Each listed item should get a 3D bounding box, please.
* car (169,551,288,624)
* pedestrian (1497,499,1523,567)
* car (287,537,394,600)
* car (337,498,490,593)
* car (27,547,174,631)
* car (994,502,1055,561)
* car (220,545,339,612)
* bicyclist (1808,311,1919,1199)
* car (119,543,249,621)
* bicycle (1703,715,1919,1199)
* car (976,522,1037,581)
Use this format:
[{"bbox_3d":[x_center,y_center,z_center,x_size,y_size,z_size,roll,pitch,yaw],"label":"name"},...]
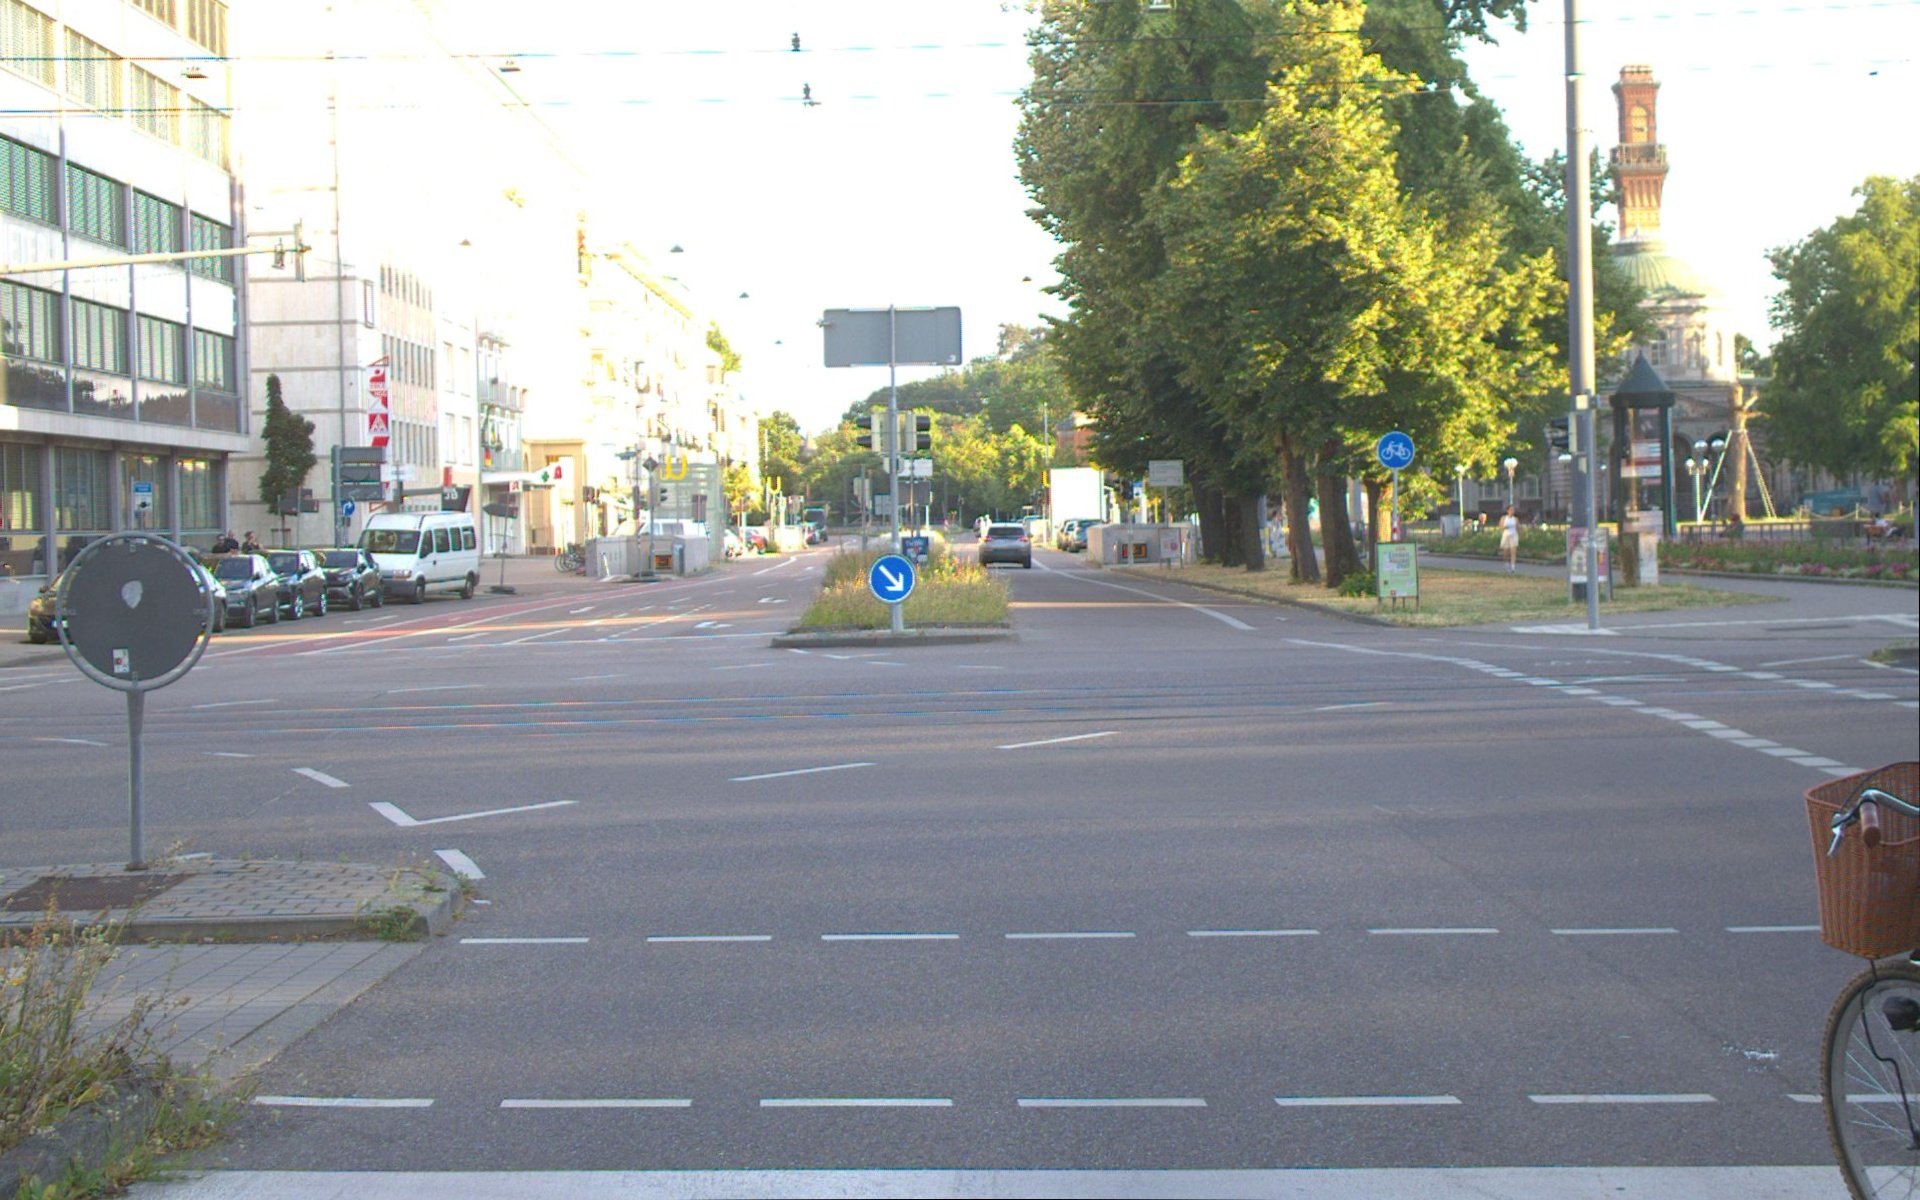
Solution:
[{"bbox_3d":[-16.151,-0.252,76.075,1.796,1.470,4.000,-1,-1,-1],"label":"car"},{"bbox_3d":[13.410,-1.633,83.777,0.508,1.663,0.531,-1,1,-1],"label":"pedestrian"},{"bbox_3d":[-15.853,-0.784,88.201,1.796,1.470,3.999,-1,-1,3],"label":"car"},{"bbox_3d":[-14.996,-1.453,94.782,2.178,2.377,5.986,-2,-1,11],"label":"car"},{"bbox_3d":[-16.235,-0.178,65.116,1.796,1.470,4.000,-1,-1,-1],"label":"car"},{"bbox_3d":[2.271,-2.433,122.108,1.993,2.007,4.000,-1,1,-1],"label":"car"},{"bbox_3d":[-16.151,-0.497,81.804,1.796,1.470,3.999,-1,-1,3],"label":"car"},{"bbox_3d":[1.826,0.379,5.668,0.628,1.687,0.748,-1,1,-1],"label":"bicyclist"},{"bbox_3d":[-16.024,-0.351,71.155,1.796,1.470,4.000,-1,-1,-1],"label":"car"},{"bbox_3d":[1.842,0.793,5.992,0.637,1.065,2.069,0,1,0],"label":"bicycle"},{"bbox_3d":[1.645,-1.752,122.533,1.993,2.007,4.000,-1,1,-1],"label":"car"}]
